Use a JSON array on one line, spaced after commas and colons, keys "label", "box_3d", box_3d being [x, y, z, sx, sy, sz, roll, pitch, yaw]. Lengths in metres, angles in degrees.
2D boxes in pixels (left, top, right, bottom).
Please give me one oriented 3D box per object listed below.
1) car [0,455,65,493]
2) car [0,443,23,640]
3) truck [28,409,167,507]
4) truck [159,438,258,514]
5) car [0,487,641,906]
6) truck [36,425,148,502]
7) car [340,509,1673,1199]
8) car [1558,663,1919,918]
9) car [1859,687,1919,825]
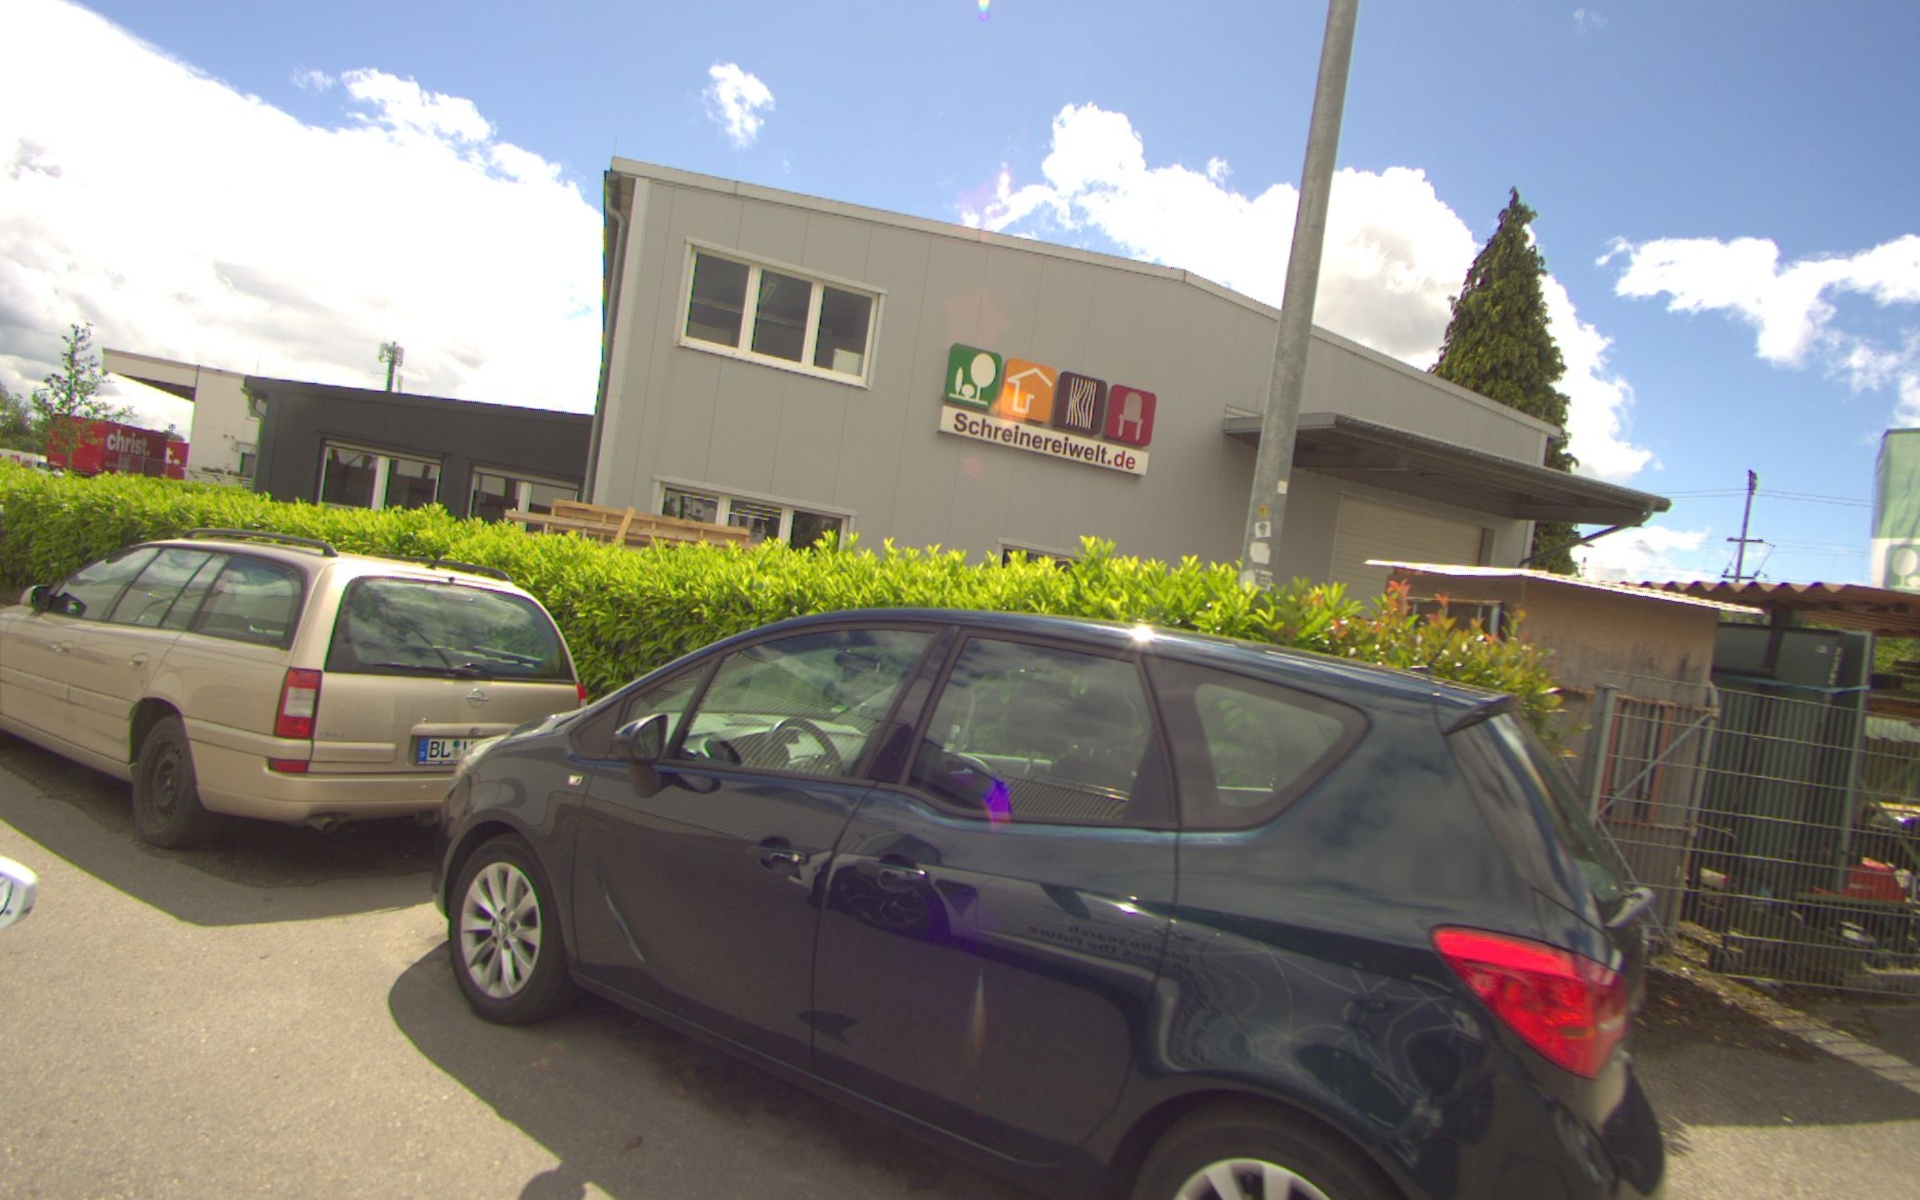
[{"label": "car", "box_3d": [-89.477, -12.140, 96.142, 5.611, 2.708, 1.980, 7, -2, -38]}, {"label": "car", "box_3d": [-12.394, -0.907, 10.863, 5.057, 2.014, 1.872, 7, -1, 31]}, {"label": "truck", "box_3d": [-50.158, -8.088, 58.881, 2.956, 4.107, 8.447, 6, -2, -19]}, {"label": "truck", "box_3d": [-54.502, -8.884, 73.238, 2.956, 4.107, 8.447, 6, -2, -19]}, {"label": "car", "box_3d": [-4.231, 0.306, 5.980, 4.655, 1.558, 1.658, 7, -1, 31]}, {"label": "truck", "box_3d": [-63.518, -9.850, 73.900, 2.956, 4.107, 8.447, 6, -2, -19]}, {"label": "car", "box_3d": [-0.161, 0.738, 3.487, 4.055, 1.657, 1.681, 6, -1, 33]}, {"label": "car", "box_3d": [7.305, 1.534, 8.073, 4.003, 1.525, 1.684, 6, 2, -8]}, {"label": "car", "box_3d": [14.944, 2.388, 13.327, 1.792, 1.895, 4.023, 6, 0, -20]}]
